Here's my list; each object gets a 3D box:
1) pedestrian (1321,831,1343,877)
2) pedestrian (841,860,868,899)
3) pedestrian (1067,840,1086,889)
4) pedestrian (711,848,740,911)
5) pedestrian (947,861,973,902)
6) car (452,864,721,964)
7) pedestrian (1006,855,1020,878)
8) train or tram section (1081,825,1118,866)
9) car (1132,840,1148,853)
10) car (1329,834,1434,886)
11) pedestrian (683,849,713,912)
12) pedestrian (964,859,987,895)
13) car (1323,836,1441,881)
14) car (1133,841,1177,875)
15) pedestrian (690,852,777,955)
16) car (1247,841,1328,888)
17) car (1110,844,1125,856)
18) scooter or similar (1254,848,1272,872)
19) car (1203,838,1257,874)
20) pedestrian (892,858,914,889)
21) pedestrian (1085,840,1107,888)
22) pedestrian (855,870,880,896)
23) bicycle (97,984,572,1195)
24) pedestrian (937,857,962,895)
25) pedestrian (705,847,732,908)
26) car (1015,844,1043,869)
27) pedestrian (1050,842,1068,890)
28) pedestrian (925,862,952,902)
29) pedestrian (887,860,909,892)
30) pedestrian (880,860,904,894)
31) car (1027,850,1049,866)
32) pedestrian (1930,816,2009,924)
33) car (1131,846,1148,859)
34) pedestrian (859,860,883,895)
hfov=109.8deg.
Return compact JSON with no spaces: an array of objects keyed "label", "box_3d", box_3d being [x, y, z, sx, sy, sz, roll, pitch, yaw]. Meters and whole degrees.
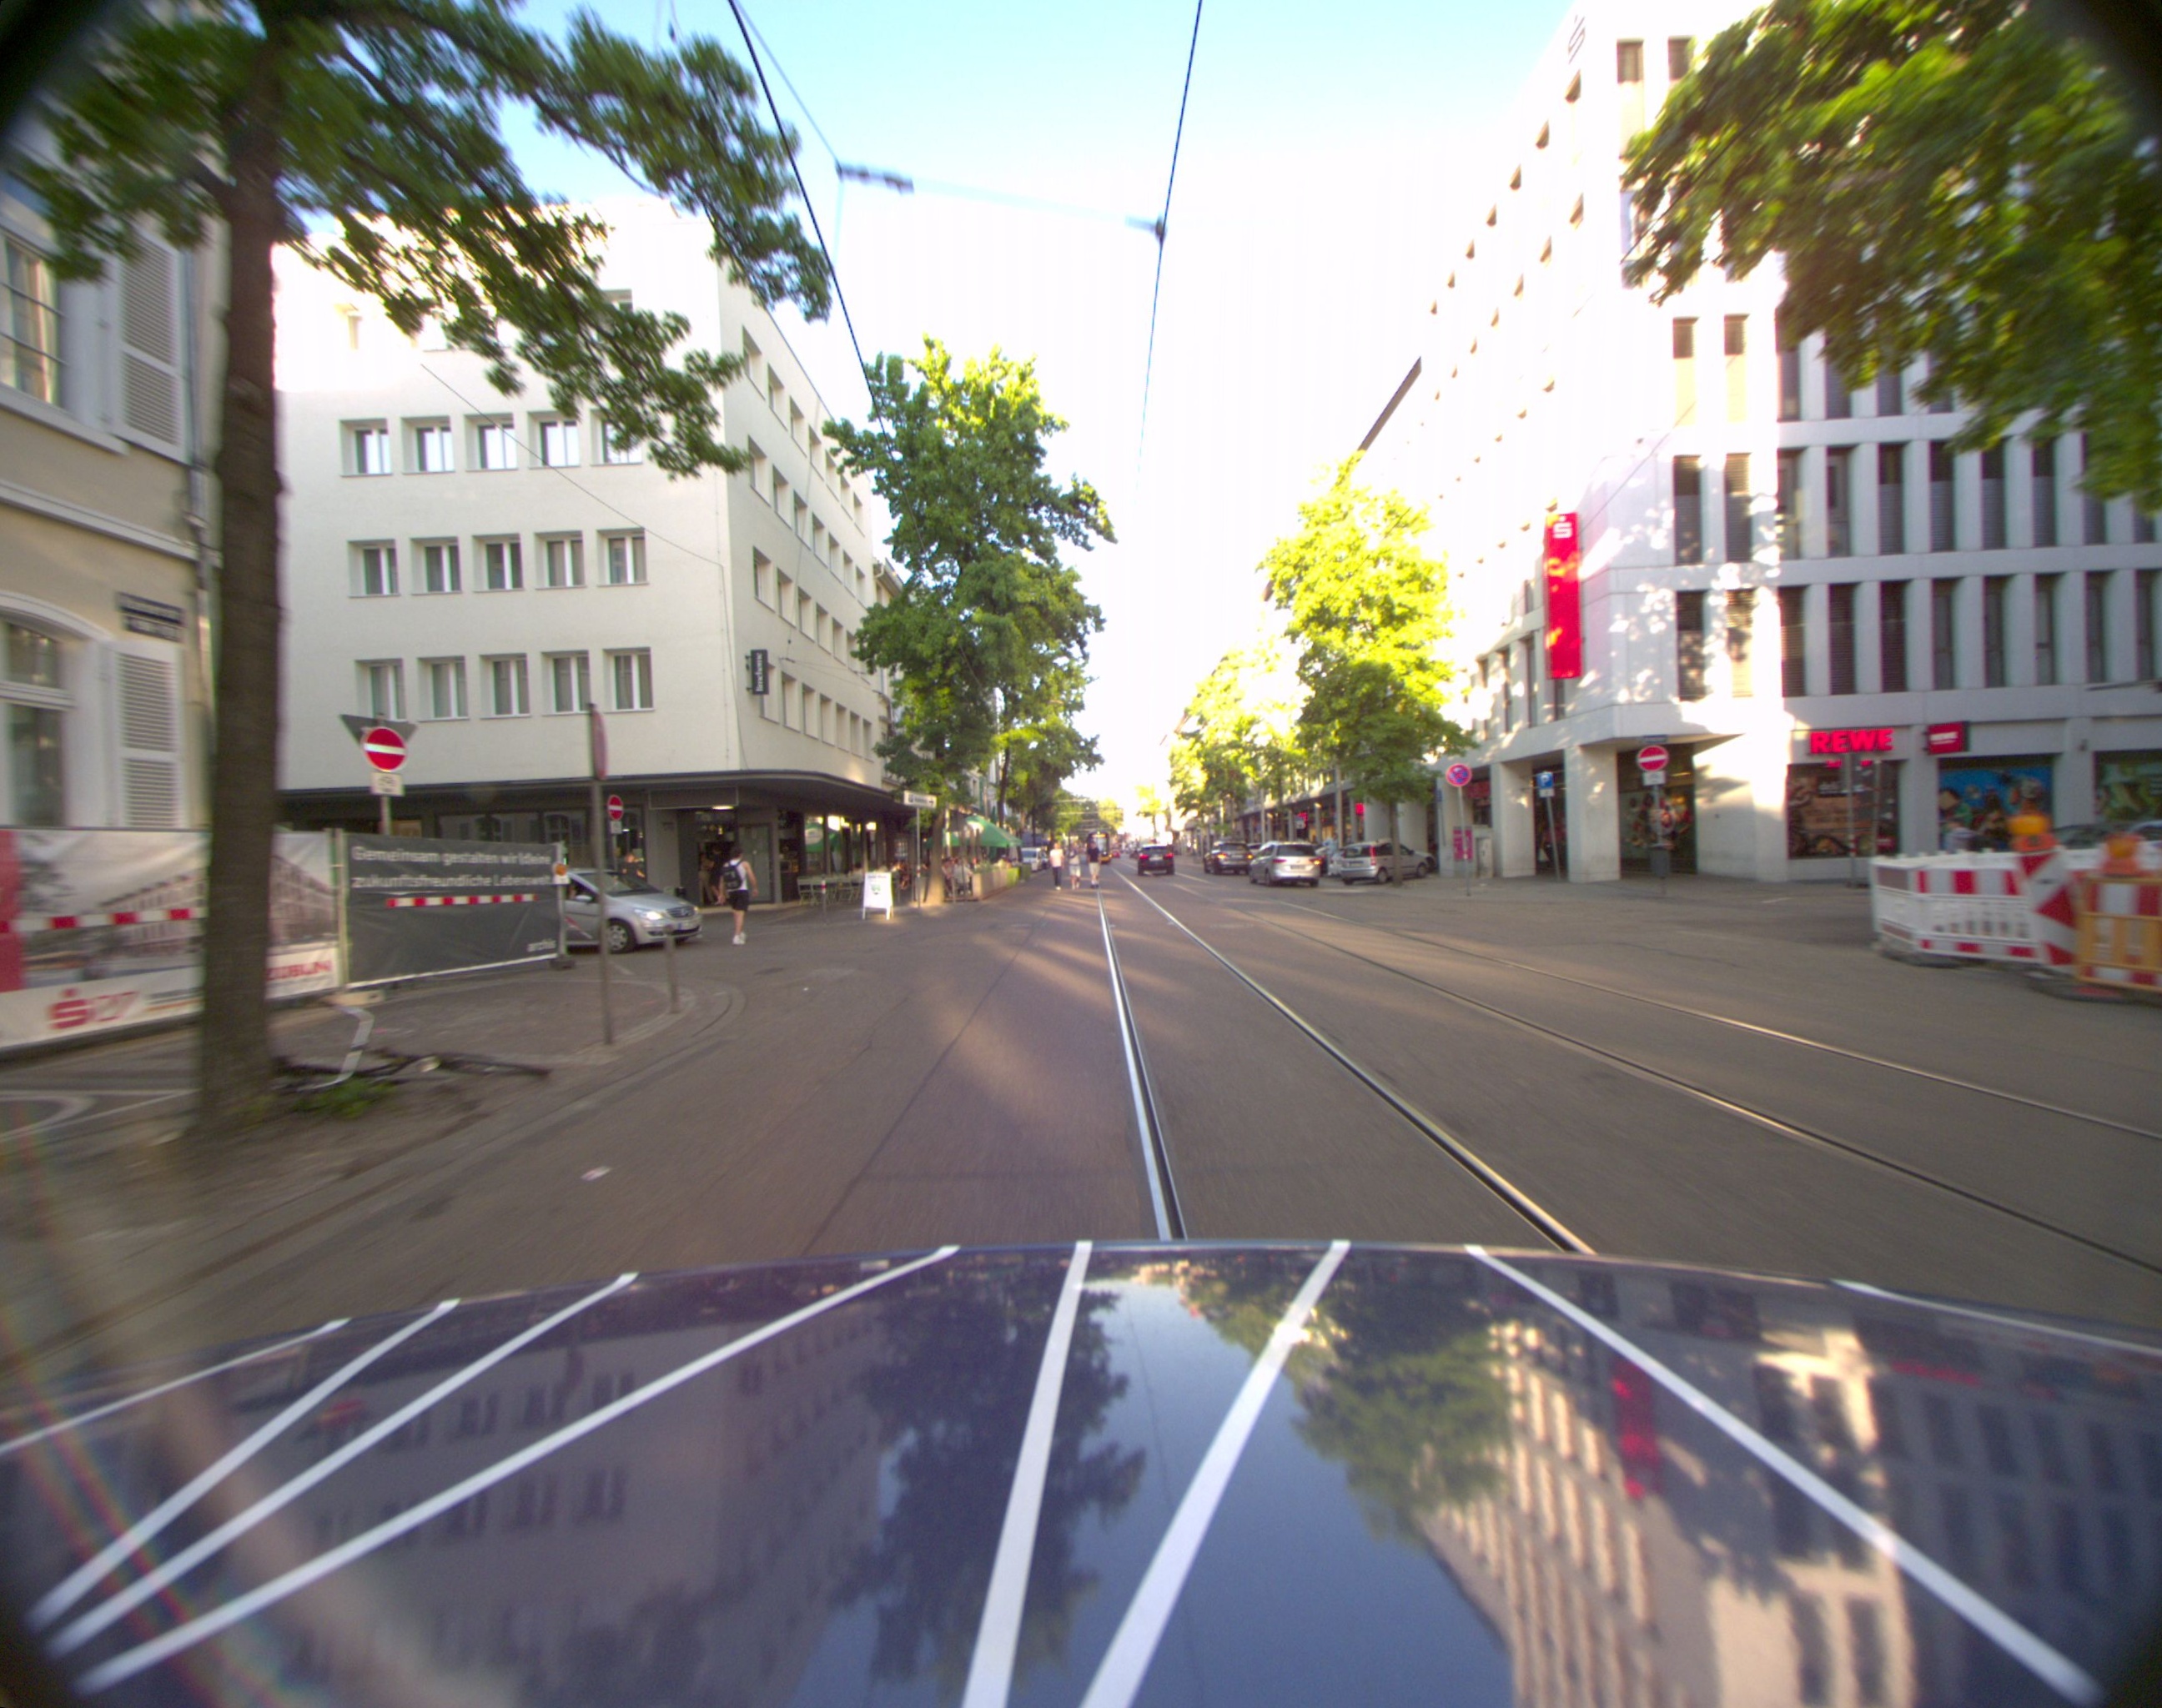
[{"label":"pedestrian","box_3d":[10.712,-0.010,32.459,0.656,1.922,0.723,-2,1,3]},{"label":"pedestrian","box_3d":[-8.083,0.906,27.172,0.716,1.321,0.624,-2,1,2]},{"label":"pedestrian","box_3d":[-0.186,0.421,30.961,0.672,1.922,0.873,-2,1,3]},{"label":"pedestrian","box_3d":[-11.030,0.776,23.573,0.725,1.898,0.569,-3,1,-28]},{"label":"pedestrian","box_3d":[-4.071,0.909,25.602,0.716,1.321,0.624,-2,1,2]},{"label":"car","box_3d":[-9.294,1.102,14.479,3.937,1.600,1.867,-2,3,8]},{"label":"pedestrian","box_3d":[-4.065,0.755,45.303,0.716,1.321,0.624,-2,1,2]},{"label":"train or tram section","box_3d":[1.997,-0.937,84.391,3.607,3.974,15.715,-2,0,1]},{"label":"car","box_3d":[8.914,-1.097,114.634,1.999,1.871,3.999,-2,0,0]},{"label":"car","box_3d":[10.945,0.212,27.653,3.405,1.551,1.785,-6,2,-31]},{"label":"pedestrian","box_3d":[-11.752,0.802,23.321,0.725,1.898,0.569,-2,1,-26]},{"label":"pedestrian","box_3d":[-3.995,0.850,28.693,0.716,1.321,0.624,-2,1,2]},{"label":"car","box_3d":[12.091,0.164,30.561,4.320,1.404,1.575,-5,2,-17]},{"label":"car","box_3d":[4.095,0.198,42.583,2.039,1.677,4.200,-2,1,1]},{"label":"pedestrian","box_3d":[-6.527,0.904,14.344,0.945,1.805,1.071,-2,3,9]},{"label":"car","box_3d":[7.505,0.348,28.046,1.889,1.603,4.200,0,1,1]},{"label":"car","box_3d":[5.980,-0.665,125.731,2.218,1.849,3.999,-2,1,-1]},{"label":"scooter or similar","box_3d":[10.132,0.321,42.297,0.580,1.241,2.126,-2,0,4]},{"label":"car","box_3d":[7.885,0.084,40.589,2.039,1.796,4.200,-1,1,1]},{"label":"pedestrian","box_3d":[-7.790,0.850,33.251,0.716,1.321,0.624,-2,1,2]},{"label":"pedestrian","box_3d":[0.614,0.394,30.793,0.772,1.922,0.873,-2,1,3]},{"label":"pedestrian","box_3d":[-7.998,1.092,28.459,0.716,0.927,0.624,-2,1,2]},{"label":"bicycle","box_3d":[-4.744,1.406,4.983,1.753,0.744,1.566,0,1,18]},{"label":"pedestrian","box_3d":[-4.628,0.764,26.758,0.716,1.321,0.624,-2,1,2]},{"label":"pedestrian","box_3d":[-10.815,0.693,22.683,0.625,1.756,0.715,-3,1,-28]},{"label":"car","box_3d":[-3.942,0.151,58.450,2.003,1.831,4.965,0,1,-2]},{"label":"pedestrian","box_3d":[-0.893,0.480,30.690,0.598,1.922,0.873,-2,1,3]},{"label":"pedestrian","box_3d":[-4.814,0.935,25.644,0.716,1.321,0.624,-2,1,2]},{"label":"pedestrian","box_3d":[-7.787,0.914,32.298,0.716,1.321,0.624,-2,1,2]},{"label":"pedestrian","box_3d":[-7.486,0.916,30.134,0.716,1.321,0.624,-2,1,2]},{"label":"car","box_3d":[-3.672,0.329,64.847,1.715,1.318,3.593,-2,0,-2]},{"label":"pedestrian","box_3d":[14.064,0.243,12.050,0.610,1.636,0.727,-2,1,32]},{"label":"car","box_3d":[7.810,-0.240,101.441,1.715,1.587,3.999,-2,0,-2]},{"label":"pedestrian","box_3d":[-8.320,0.929,30.158,0.716,1.321,0.624,-2,1,2]}]
